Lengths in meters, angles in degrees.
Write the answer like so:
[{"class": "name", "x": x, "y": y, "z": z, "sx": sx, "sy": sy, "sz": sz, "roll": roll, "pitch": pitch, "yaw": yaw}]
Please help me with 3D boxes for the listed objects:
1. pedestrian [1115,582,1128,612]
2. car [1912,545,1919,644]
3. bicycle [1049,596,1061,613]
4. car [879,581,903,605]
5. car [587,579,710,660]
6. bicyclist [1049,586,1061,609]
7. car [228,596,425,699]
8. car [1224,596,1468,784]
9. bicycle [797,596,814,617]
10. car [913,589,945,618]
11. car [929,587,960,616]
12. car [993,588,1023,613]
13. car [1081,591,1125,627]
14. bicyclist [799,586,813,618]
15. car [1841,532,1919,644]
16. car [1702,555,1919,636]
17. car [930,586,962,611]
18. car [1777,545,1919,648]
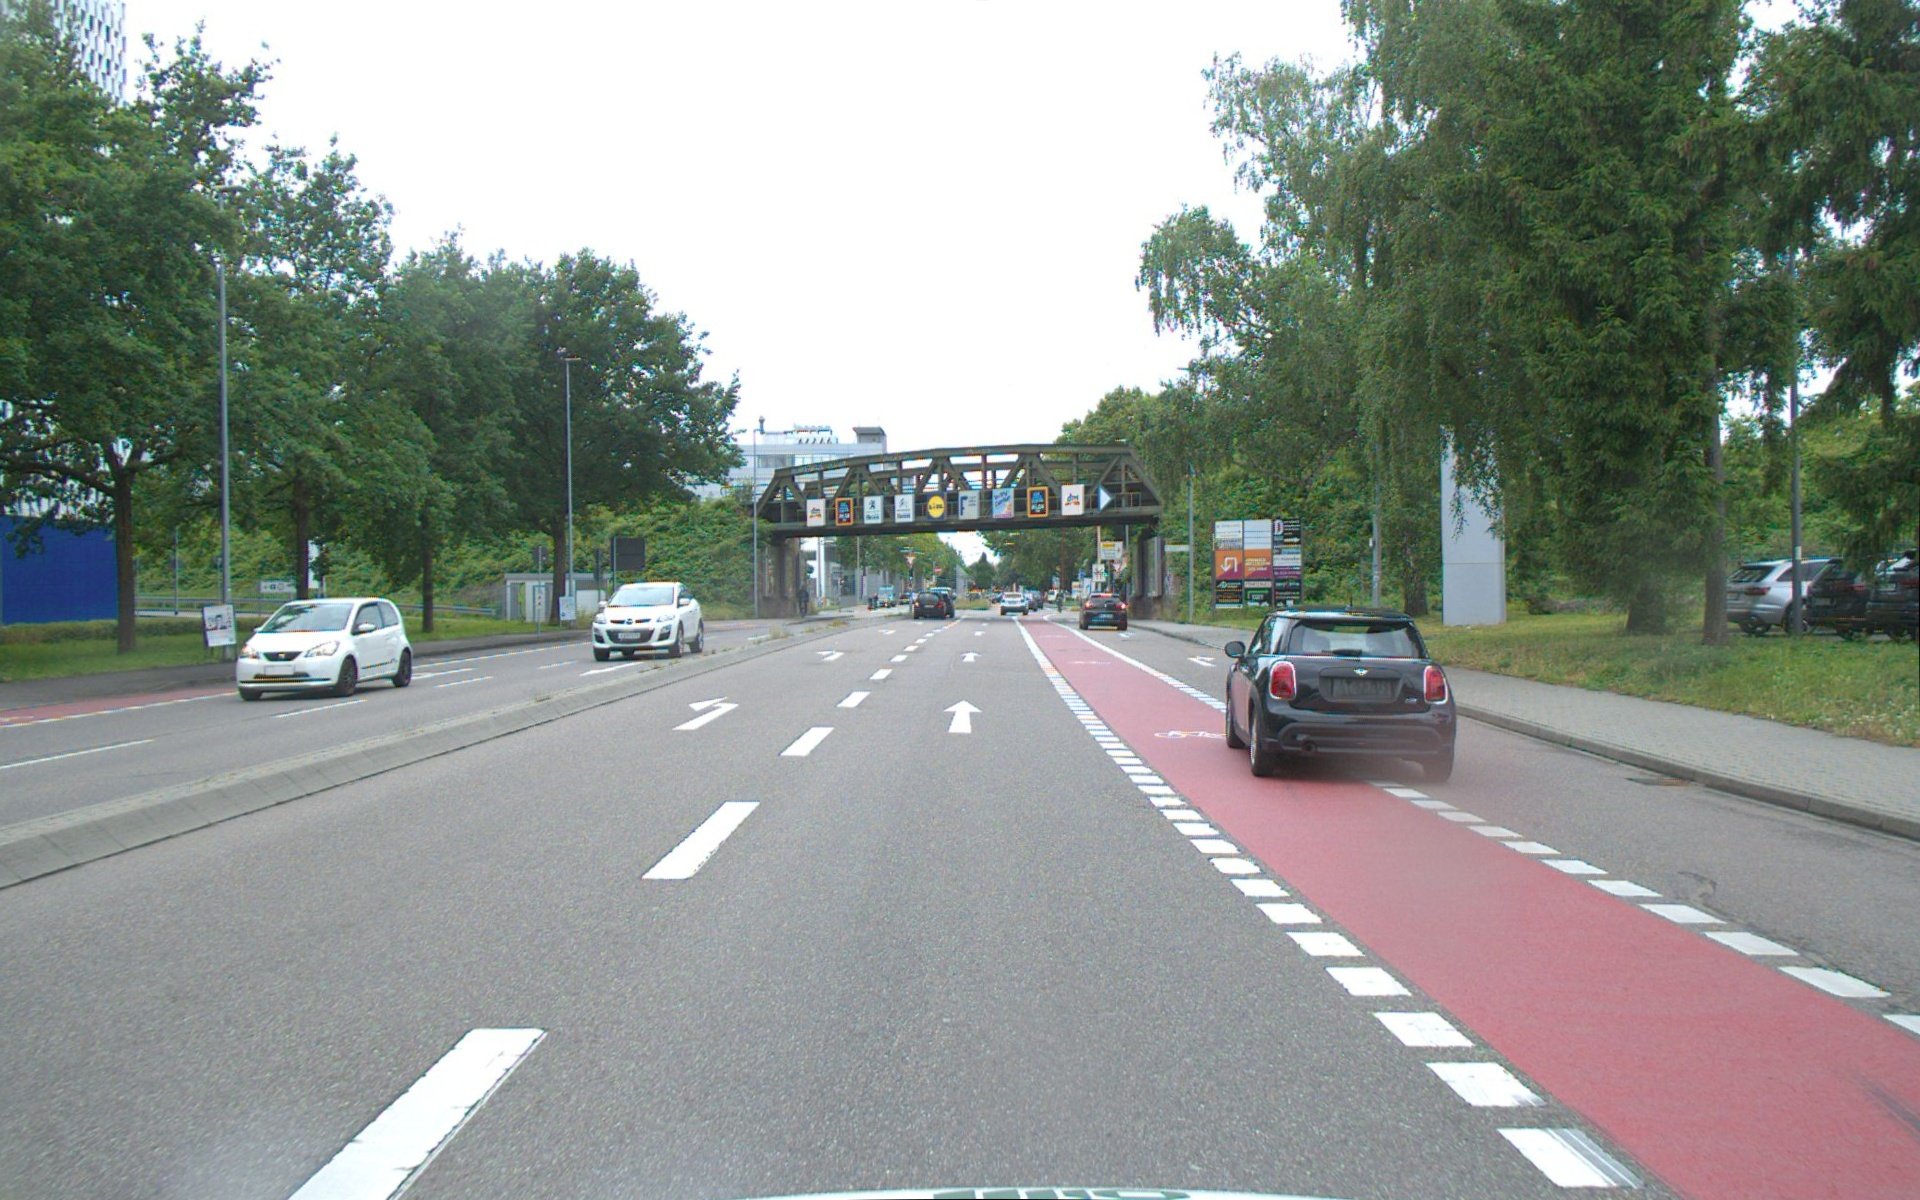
[{"class": "pedestrian", "x": 9.230, "y": -0.163, "z": 94.505, "sx": 0.726, "sy": 1.669, "sz": 0.779, "roll": 0, "pitch": 0, "yaw": 8}, {"class": "car", "x": 15.717, "y": 0.009, "z": 22.646, "sx": 4.208, "sy": 1.407, "sz": 1.903, "roll": 2, "pitch": 0, "yaw": 2}, {"class": "bicycle", "x": 7.055, "y": 0.301, "z": 122.734, "sx": 0.799, "sy": 1.234, "sz": 2.683, "roll": -1, "pitch": 0, "yaw": 1}, {"class": "car", "x": -8.603, "y": -0.884, "z": 207.331, "sx": 2.279, "sy": 2.875, "sz": 5.952, "roll": -1, "pitch": 0, "yaw": 4}, {"class": "car", "x": -6.862, "y": 0.374, "z": 36.910, "sx": 1.780, "sy": 1.614, "sz": 4.514, "roll": -2, "pitch": 1, "yaw": 0}, {"class": "bicyclist", "x": 7.044, "y": -0.190, "z": 122.736, "sx": 0.800, "sy": 1.658, "sz": 1.235, "roll": -1, "pitch": 0, "yaw": 1}, {"class": "car", "x": -9.853, "y": 0.685, "z": 26.018, "sx": 1.642, "sy": 1.453, "sz": 3.651, "roll": -1, "pitch": 1, "yaw": 0}, {"class": "car", "x": 3.399, "y": 0.715, "z": 15.188, "sx": 1.644, "sy": 1.456, "sz": 3.776, "roll": 1, "pitch": 1, "yaw": 5}, {"class": "bicycle", "x": -9.331, "y": 0.382, "z": 99.985, "sx": 0.698, "sy": 1.207, "sz": 2.371, "roll": 1, "pitch": 0, "yaw": 1}, {"class": "car", "x": -1.757, "y": 0.167, "z": 92.050, "sx": 1.733, "sy": 1.554, "sz": 3.668, "roll": 1, "pitch": 0, "yaw": -2}, {"class": "car", "x": -0.948, "y": 0.087, "z": 99.110, "sx": 1.737, "sy": 1.681, "sz": 3.668, "roll": 1, "pitch": 0, "yaw": -2}, {"class": "car", "x": 3.253, "y": 0.028, "z": 112.836, "sx": 1.787, "sy": 1.628, "sz": 3.774, "roll": 1, "pitch": 0, "yaw": -2}, {"class": "car", "x": 5.412, "y": 0.338, "z": 62.919, "sx": 1.612, "sy": 1.303, "sz": 3.421, "roll": 1, "pitch": 1, "yaw": 4}, {"class": "bicyclist", "x": -9.322, "y": 0.115, "z": 100.025, "sx": 0.687, "sy": 1.907, "sz": 1.020, "roll": 1, "pitch": -1, "yaw": 1}, {"class": "car", "x": 16.111, "y": -0.104, "z": 25.261, "sx": 4.208, "sy": 1.629, "sz": 1.970, "roll": 2, "pitch": 0, "yaw": 2}, {"class": "car", "x": 16.717, "y": -0.092, "z": 31.744, "sx": 4.213, "sy": 1.515, "sz": 1.738, "roll": 0, "pitch": 1, "yaw": -5}, {"class": "car", "x": -0.963, "y": -0.118, "z": 108.413, "sx": 1.922, "sy": 1.554, "sz": 5.008, "roll": 1, "pitch": 1, "yaw": -2}, {"class": "car", "x": 16.462, "y": -0.014, "z": 28.061, "sx": 4.210, "sy": 1.629, "sz": 1.969, "roll": 2, "pitch": 0, "yaw": -1}]
